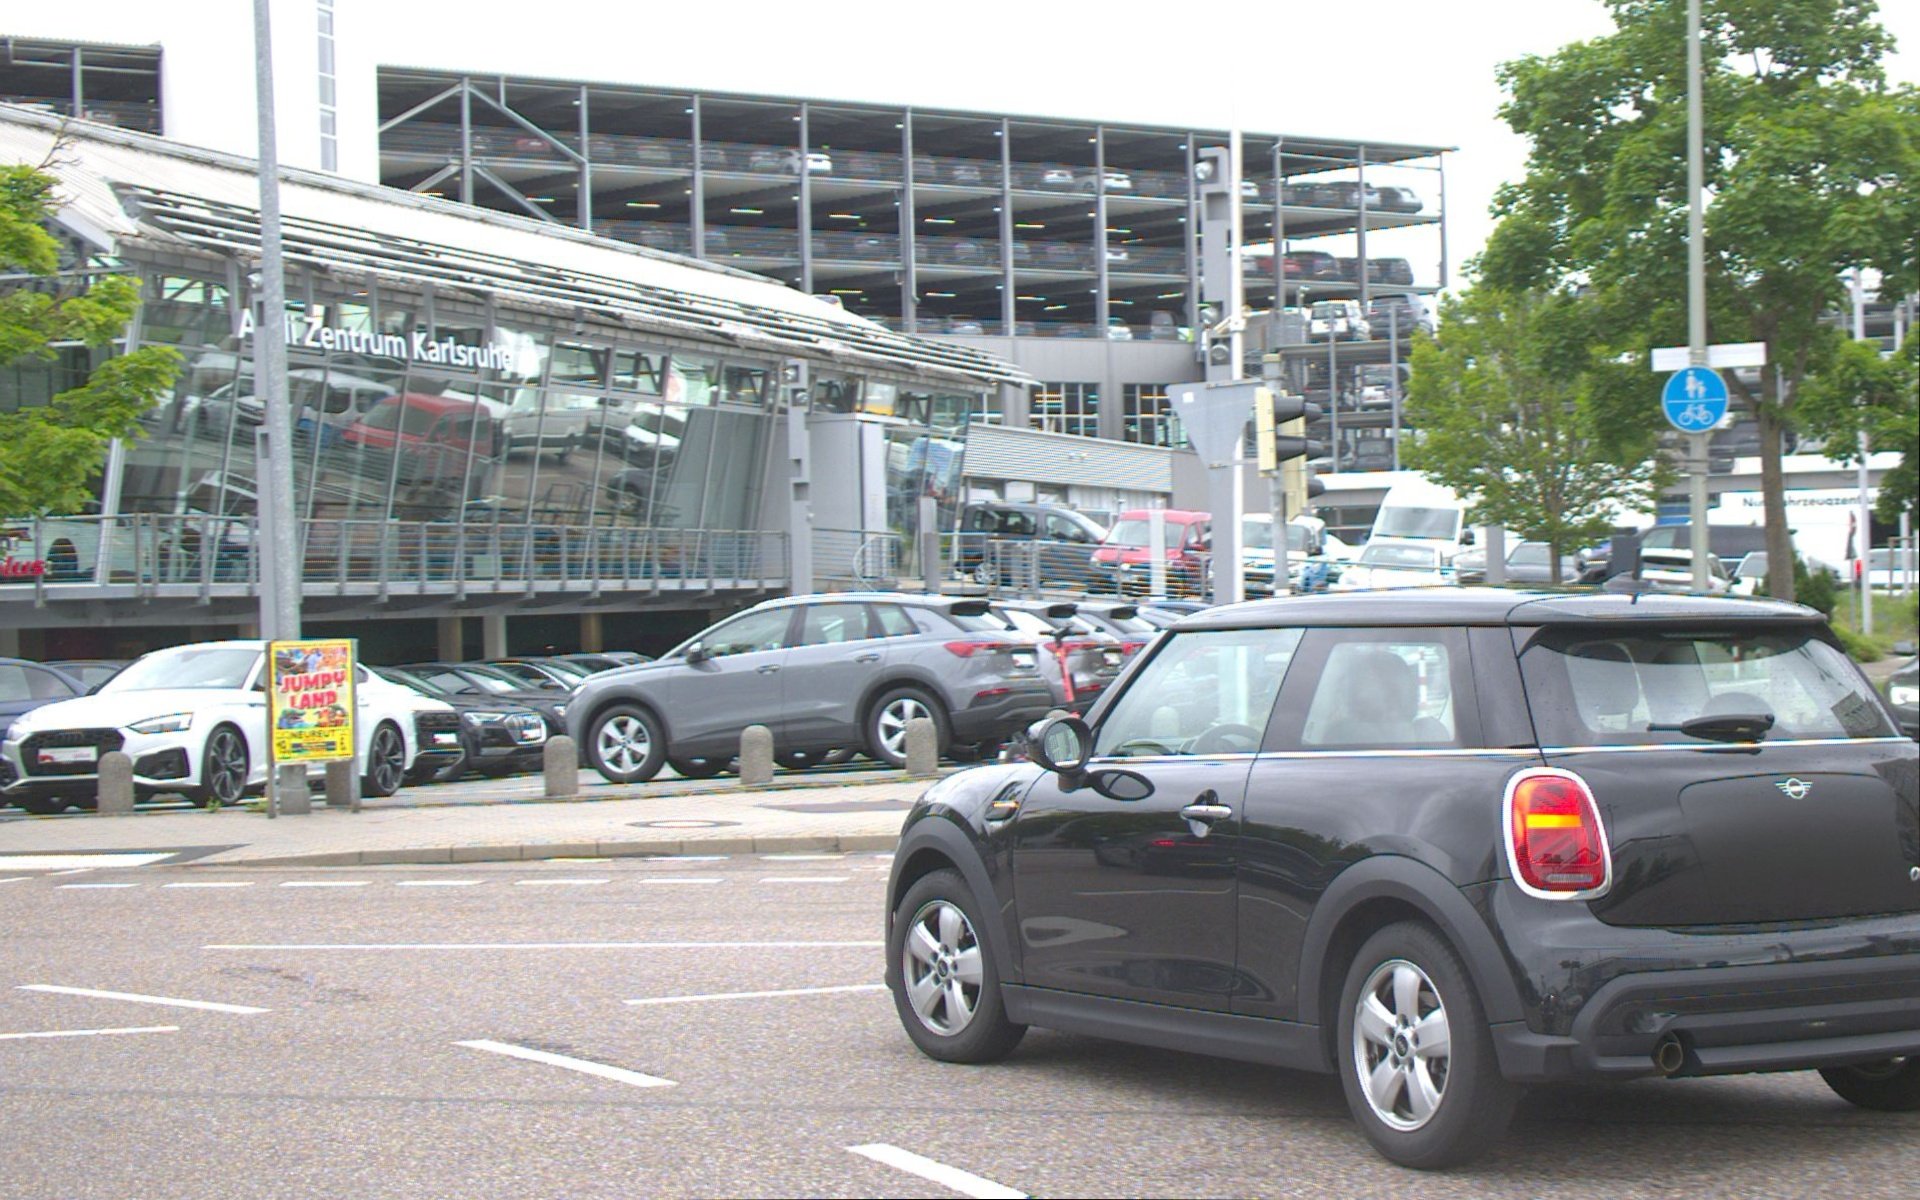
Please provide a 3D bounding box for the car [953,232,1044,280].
[{"bbox_3d":[1.673,-14.959,149.632,1.994,1.662,3.999,0,0,-36],"label":"car"}]

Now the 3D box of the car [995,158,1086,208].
[{"bbox_3d":[3.512,-18.312,150.950,1.994,1.662,3.999,0,0,-36],"label":"car"}]

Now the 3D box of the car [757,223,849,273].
[{"bbox_3d":[-6.577,-14.695,143.751,1.994,1.662,3.999,0,0,-36],"label":"car"}]

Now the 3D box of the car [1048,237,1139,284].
[{"bbox_3d":[5.933,-15.063,152.630,1.994,1.662,3.999,0,0,-36],"label":"car"}]

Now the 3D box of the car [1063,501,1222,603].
[{"bbox_3d":[3.499,-0.881,65.152,1.995,1.842,3.996,0,0,19],"label":"car"}]

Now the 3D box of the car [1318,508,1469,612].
[{"bbox_3d":[7.996,-0.715,63.134,1.995,1.817,3.996,0,0,19],"label":"car"}]

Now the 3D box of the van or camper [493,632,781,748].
[{"bbox_3d":[-4.948,1.360,52.832,3.990,1.706,1.845,0,-1,19],"label":"van or camper"}]

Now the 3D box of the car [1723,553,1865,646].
[{"bbox_3d":[14.904,0.005,61.330,1.995,1.612,3.996,0,0,20],"label":"car"}]

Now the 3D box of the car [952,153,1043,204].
[{"bbox_3d":[1.631,-18.343,149.767,1.994,1.662,3.999,0,0,-36],"label":"car"}]

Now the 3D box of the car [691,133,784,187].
[{"bbox_3d":[-9.210,-18.175,142.174,1.994,1.662,3.999,0,0,-36],"label":"car"}]

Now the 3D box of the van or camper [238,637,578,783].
[{"bbox_3d":[-7.244,1.412,45.191,3.990,1.810,1.845,0,-1,19],"label":"van or camper"}]

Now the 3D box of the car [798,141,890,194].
[{"bbox_3d":[-4.924,-18.223,144.989,1.994,1.662,3.999,0,0,-36],"label":"car"}]

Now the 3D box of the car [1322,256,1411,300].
[{"bbox_3d":[19.232,-15.250,162.802,1.994,1.662,3.999,0,0,-36],"label":"car"}]

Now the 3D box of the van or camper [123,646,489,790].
[{"bbox_3d":[-8.124,1.435,42.784,3.990,1.672,1.998,0,-1,19],"label":"van or camper"}]

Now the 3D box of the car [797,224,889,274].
[{"bbox_3d":[-4.960,-14.805,145.326,1.994,1.662,3.999,0,0,-36],"label":"car"}]

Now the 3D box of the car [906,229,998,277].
[{"bbox_3d":[-0.369,-14.931,148.113,1.994,1.662,3.999,0,0,-36],"label":"car"}]

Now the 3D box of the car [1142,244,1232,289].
[{"bbox_3d":[10.274,-15.114,155.960,1.994,1.662,3.999,0,0,-36],"label":"car"}]

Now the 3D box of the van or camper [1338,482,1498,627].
[{"bbox_3d":[9.966,-0.943,74.516,2.538,3.016,4.839,0,-1,19],"label":"van or camper"}]

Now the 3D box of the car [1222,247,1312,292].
[{"bbox_3d":[14.204,-15.280,159.167,1.994,1.662,3.999,0,0,-36],"label":"car"}]

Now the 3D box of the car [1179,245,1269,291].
[{"bbox_3d":[12.069,-15.173,157.330,1.994,1.662,3.999,0,0,-36],"label":"car"}]

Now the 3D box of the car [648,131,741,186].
[{"bbox_3d":[-10.887,-18.049,140.659,1.994,1.662,3.999,0,0,-36],"label":"car"}]

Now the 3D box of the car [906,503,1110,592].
[{"bbox_3d":[1.028,-1.105,73.333,3.991,1.831,1.758,0,-1,20],"label":"car"}]

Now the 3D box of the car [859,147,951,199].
[{"bbox_3d":[-2.363,-18.212,146.773,1.994,1.662,3.999,0,0,-36],"label":"car"}]

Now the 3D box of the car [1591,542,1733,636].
[{"bbox_3d":[12.561,-0.177,61.388,1.995,1.612,3.996,0,0,19],"label":"car"}]

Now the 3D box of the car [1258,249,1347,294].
[{"bbox_3d":[15.969,-15.337,160.545,1.994,1.662,3.999,0,0,-36],"label":"car"}]

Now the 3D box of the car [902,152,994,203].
[{"bbox_3d":[-0.528,-18.188,148.181,1.994,1.662,3.999,0,0,-36],"label":"car"}]

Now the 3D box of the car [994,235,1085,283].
[{"bbox_3d":[3.463,-14.962,150.886,1.994,1.662,3.999,0,0,-36],"label":"car"}]

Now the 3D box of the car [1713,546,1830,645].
[{"bbox_3d":[17.004,-0.075,71.931,1.995,2.007,3.996,0,0,19],"label":"car"}]

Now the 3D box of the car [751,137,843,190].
[{"bbox_3d":[-6.816,-18.246,143.761,1.994,1.662,3.999,0,0,-36],"label":"car"}]

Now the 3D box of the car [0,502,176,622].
[{"bbox_3d":[-13.245,-0.526,49.968,1.821,1.656,3.996,0,0,18],"label":"car"}]

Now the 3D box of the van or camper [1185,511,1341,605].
[{"bbox_3d":[5.672,-0.756,63.977,1.995,1.645,3.996,0,0,19],"label":"van or camper"}]

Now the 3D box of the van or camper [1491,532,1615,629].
[{"bbox_3d":[12.675,-0.386,73.327,1.995,2.007,3.996,0,0,19],"label":"van or camper"}]

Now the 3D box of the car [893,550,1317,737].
[{"bbox_3d":[1.793,0.555,42.132,4.776,2.007,1.998,-3,-2,16],"label":"car"}]

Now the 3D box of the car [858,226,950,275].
[{"bbox_3d":[-2.416,-14.892,146.671,1.994,1.662,3.999,0,0,-36],"label":"car"}]
